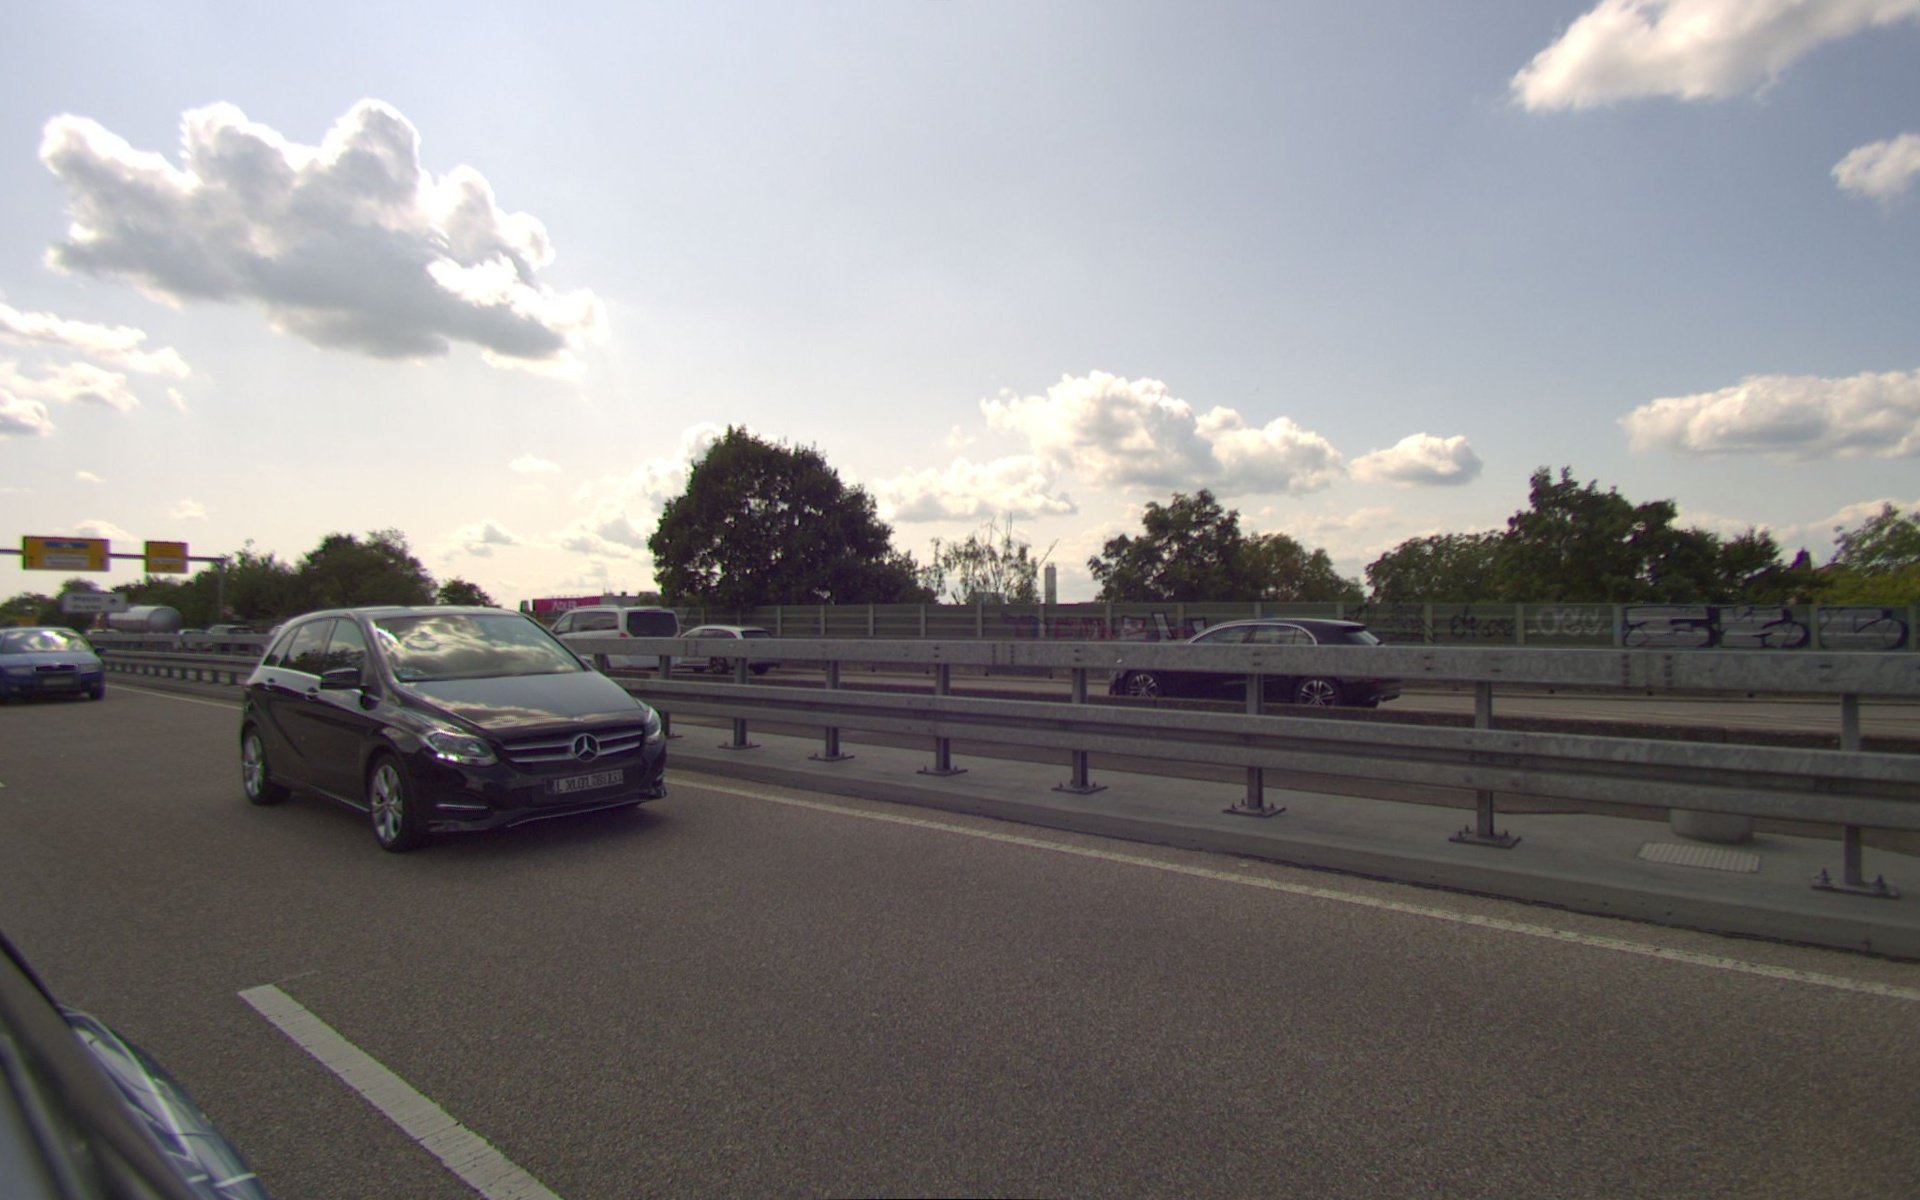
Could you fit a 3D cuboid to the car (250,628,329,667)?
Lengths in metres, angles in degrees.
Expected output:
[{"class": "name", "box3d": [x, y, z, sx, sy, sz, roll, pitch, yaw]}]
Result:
[{"class": "car", "box3d": [-30.328, 2.108, 45.734, 3.883, 1.586, 1.905, -1, 0, 39]}]

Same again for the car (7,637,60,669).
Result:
[{"class": "car", "box3d": [-59.691, 3.390, 65.184, 4.235, 1.871, 1.974, -1, 0, 40]}]

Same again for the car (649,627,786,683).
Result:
[{"class": "car", "box3d": [-7.535, 1.655, 31.243, 4.278, 1.586, 1.905, -2, -1, 39]}]

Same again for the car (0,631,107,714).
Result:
[{"class": "car", "box3d": [-18.384, 1.370, 20.102, 3.769, 1.422, 1.605, -1, 0, 41]}]

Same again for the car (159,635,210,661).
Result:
[{"class": "car", "box3d": [-49.575, 3.065, 64.675, 3.956, 1.520, 1.765, -1, 0, 40]}]

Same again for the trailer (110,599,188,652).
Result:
[{"class": "trailer", "box3d": [-61.042, 1.928, 76.053, 11.023, 3.697, 2.657, -1, 0, 41]}]

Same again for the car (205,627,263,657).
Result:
[{"class": "car", "box3d": [-41.485, 2.394, 57.803, 4.278, 1.632, 1.697, -1, -3, 40]}]

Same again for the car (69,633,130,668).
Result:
[{"class": "car", "box3d": [-44.082, 2.591, 51.829, 3.736, 1.635, 1.710, -3, -1, 39]}]

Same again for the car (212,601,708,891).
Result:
[{"class": "car", "box3d": [-3.987, 0.833, 7.647, 4.590, 1.539, 1.694, -1, 0, 41]}]

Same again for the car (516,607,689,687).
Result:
[{"class": "car", "box3d": [-9.796, 1.264, 27.531, 5.184, 1.940, 1.941, -3, 0, 38]}]

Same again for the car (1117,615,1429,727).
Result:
[{"class": "car", "box3d": [4.559, 1.006, 15.027, 4.042, 1.400, 1.767, -3, -1, 39]}]

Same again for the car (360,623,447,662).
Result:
[{"class": "car", "box3d": [-24.449, 1.849, 44.434, 4.278, 1.586, 1.905, -2, -1, 39]}]

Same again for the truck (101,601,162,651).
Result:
[{"class": "truck", "box3d": [-65.550, 2.037, 79.999, 6.228, 3.810, 2.621, -1, 0, 41]}]
